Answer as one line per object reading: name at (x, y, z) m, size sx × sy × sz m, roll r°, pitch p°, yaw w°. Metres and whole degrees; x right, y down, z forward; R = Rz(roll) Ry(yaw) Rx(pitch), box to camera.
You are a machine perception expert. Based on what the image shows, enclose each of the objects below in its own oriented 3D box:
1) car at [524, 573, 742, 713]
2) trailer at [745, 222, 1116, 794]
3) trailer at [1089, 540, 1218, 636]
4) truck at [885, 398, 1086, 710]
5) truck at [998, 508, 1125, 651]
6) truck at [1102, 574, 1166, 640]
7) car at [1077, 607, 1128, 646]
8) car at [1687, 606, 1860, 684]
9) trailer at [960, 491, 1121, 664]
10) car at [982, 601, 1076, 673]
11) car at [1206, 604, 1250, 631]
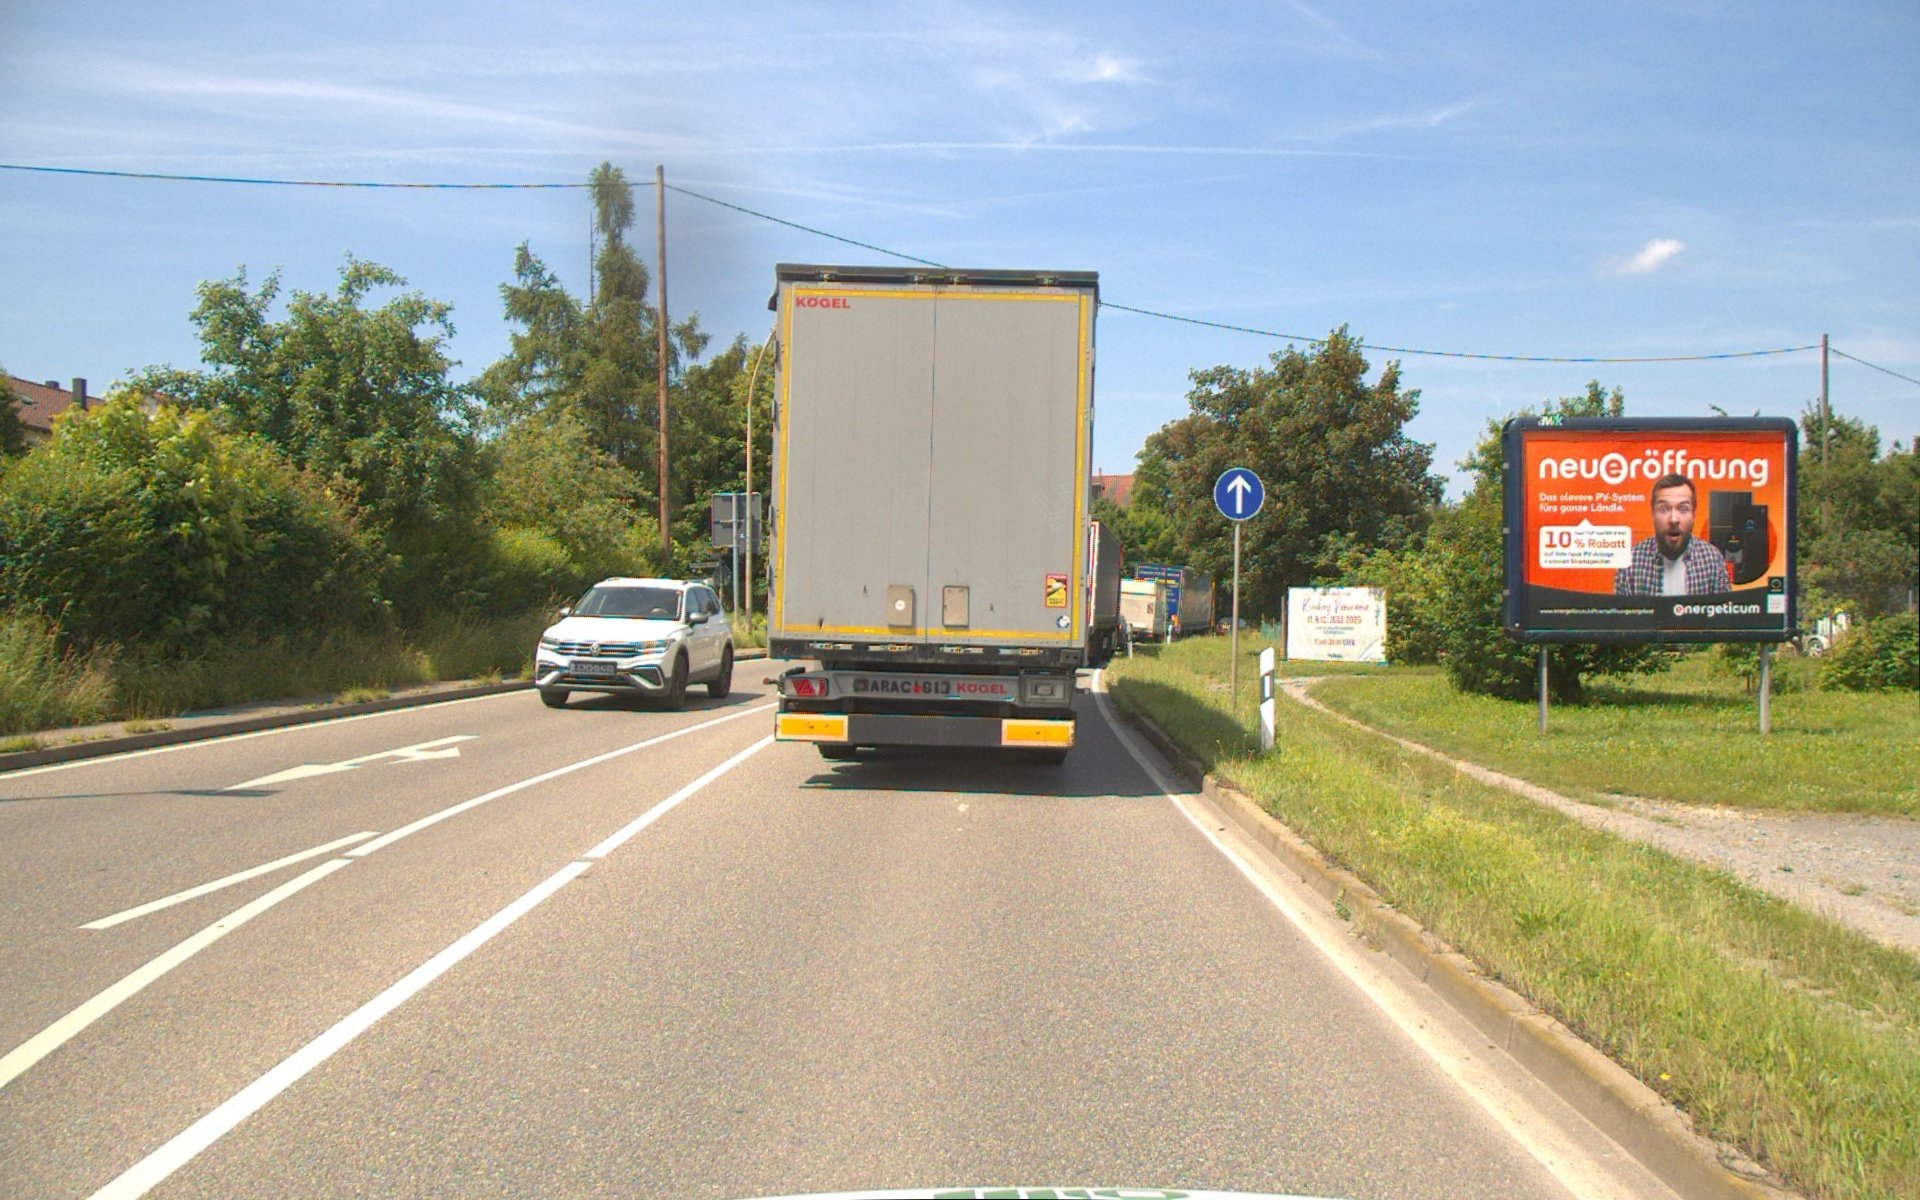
car at (-4.334, 0.516, 22.649) m, size 1.807 × 1.684 × 4.406 m, roll 1°, pitch 0°, yaw 4°
trailer at (0.111, -0.742, 18.573) m, size 2.728 × 4.278 × 12.116 m, roll 1°, pitch 0°, yaw 3°
trailer at (10.877, -0.654, 90.580) m, size 5.069 × 4.709 × 15.908 m, roll 1°, pitch 0°, yaw 13°
truck at (0.540, -0.663, 25.850) m, size 2.688 × 4.238 × 6.145 m, roll 1°, pitch 0°, yaw 3°
truck at (3.679, -0.663, 57.855) m, size 3.853 × 4.655 × 7.157 m, roll 1°, pitch 0°, yaw 8°
truck at (8.118, 0.305, 76.596) m, size 2.369 × 2.888 × 5.417 m, roll 1°, pitch 0°, yaw 12°
car at (5.934, 1.080, 68.703) m, size 1.802 × 1.512 × 4.003 m, roll 1°, pitch 0°, yaw 9°
car at (22.926, 1.244, 46.732) m, size 3.902 × 2.049 × 2.002 m, roll 1°, pitch 0°, yaw 7°
trailer at (2.775, -0.588, 50.892) m, size 3.808 × 4.600 × 12.723 m, roll 1°, pitch 0°, yaw 8°
car at (1.696, 0.832, 39.164) m, size 1.951 × 1.556 × 4.003 m, roll 1°, pitch 0°, yaw 6°
car at (17.712, 1.133, 109.298) m, size 1.953 × 1.713 × 3.999 m, roll 1°, pitch 0°, yaw 23°
